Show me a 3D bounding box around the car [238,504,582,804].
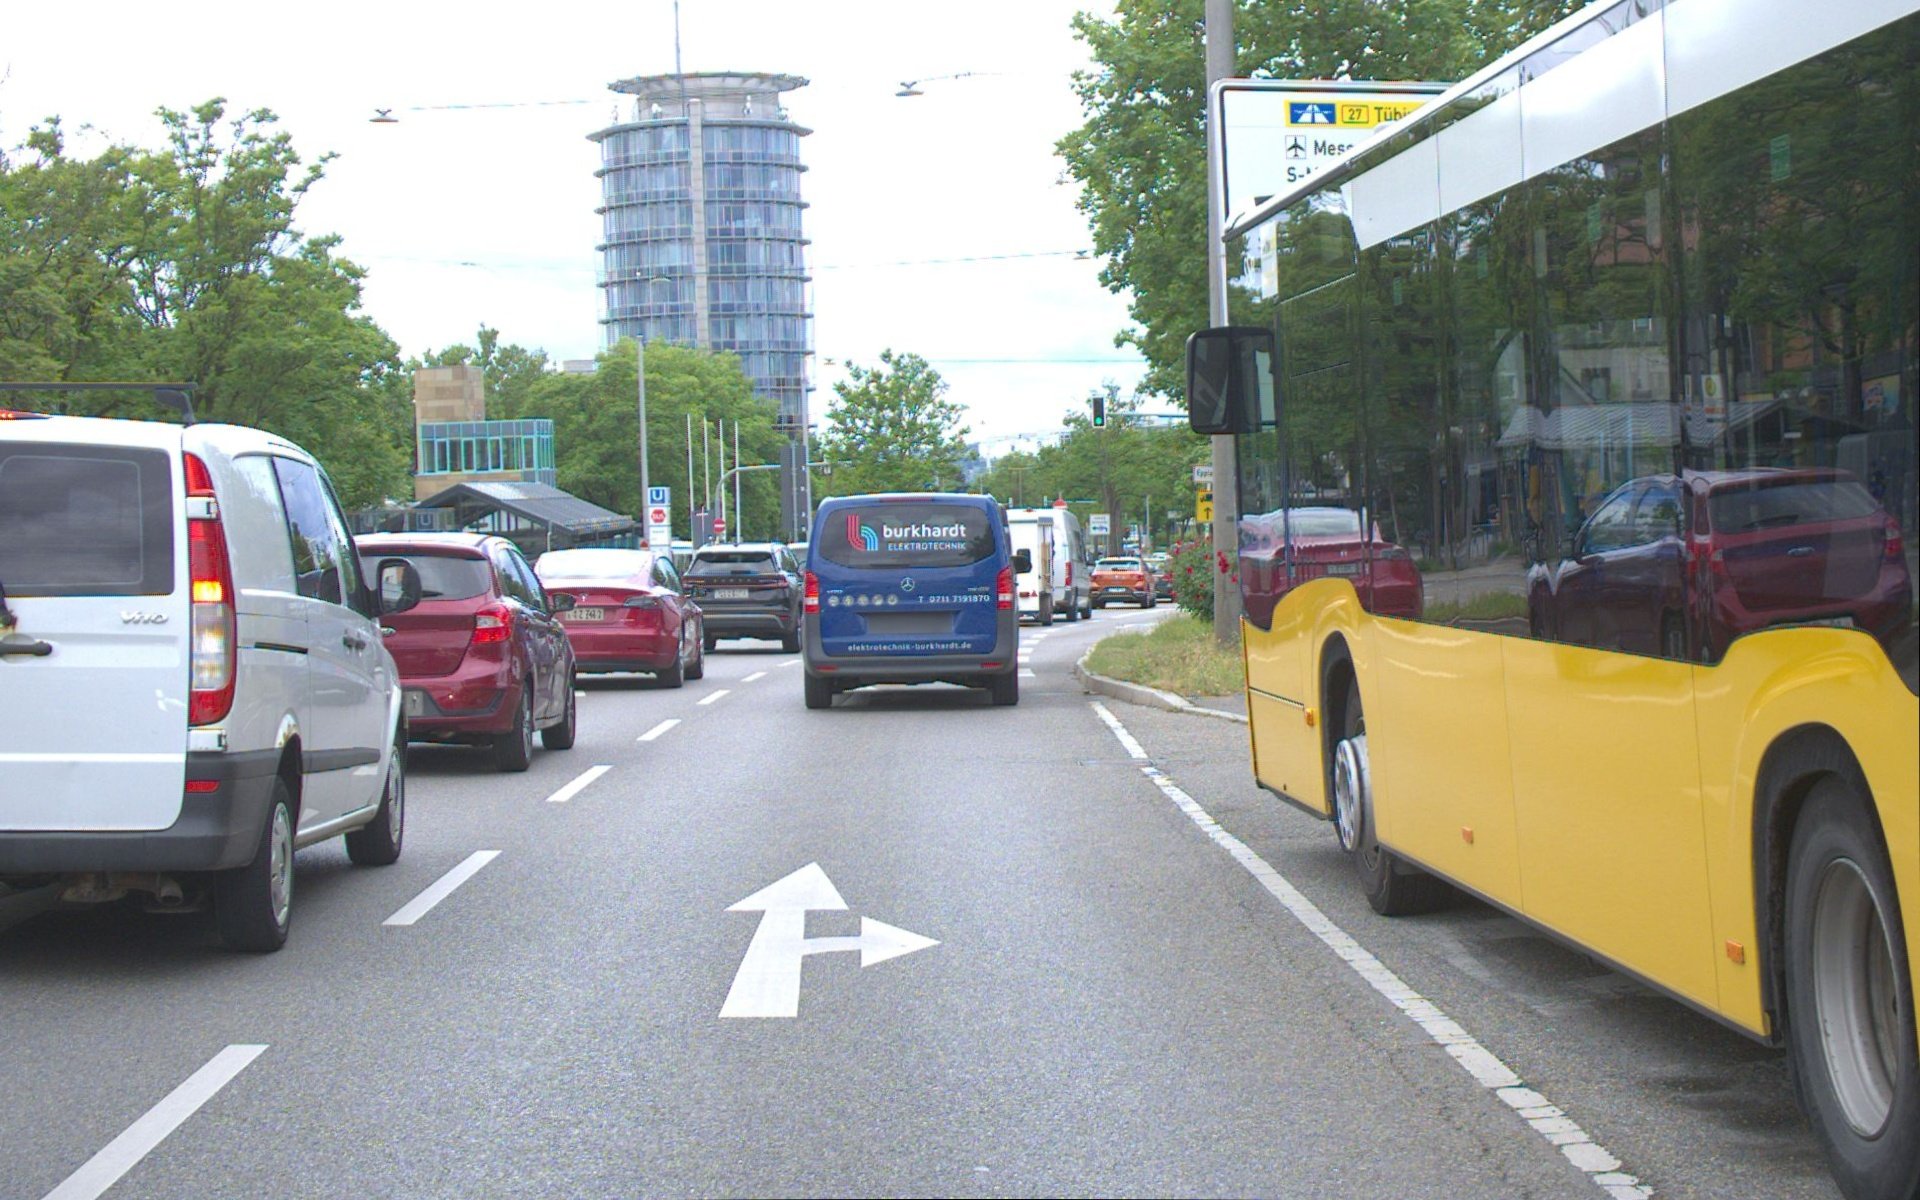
[{"bbox_3d":[-3.569,0.317,22.949,1.746,1.717,4.000,-4,0,-3],"label":"car"}]

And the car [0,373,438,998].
[{"bbox_3d":[-3.335,0.233,13.639,1.873,2.007,5.076,-1,1,-2],"label":"car"}]

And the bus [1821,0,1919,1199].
[{"bbox_3d":[3.272,-0.171,2.194,2.712,3.098,8.872,-3,2,-3],"label":"bus"}]

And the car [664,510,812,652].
[{"bbox_3d":[-3.302,-0.325,51.829,1.993,2.006,4.001,-1,2,-1],"label":"car"}]

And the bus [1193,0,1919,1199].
[{"bbox_3d":[2.806,-0.420,11.240,2.712,3.153,9.129,-3,2,-4],"label":"bus"}]

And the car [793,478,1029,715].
[{"bbox_3d":[-0.451,-0.054,31.357,1.948,1.959,4.542,-1,1,-1],"label":"car"}]

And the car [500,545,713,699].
[{"bbox_3d":[-3.684,0.216,36.403,1.868,1.481,4.000,-2,0,-1],"label":"car"}]

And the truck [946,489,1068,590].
[{"bbox_3d":[1.092,-1.343,76.307,1.994,2.158,5.557,0,1,8],"label":"truck"}]
